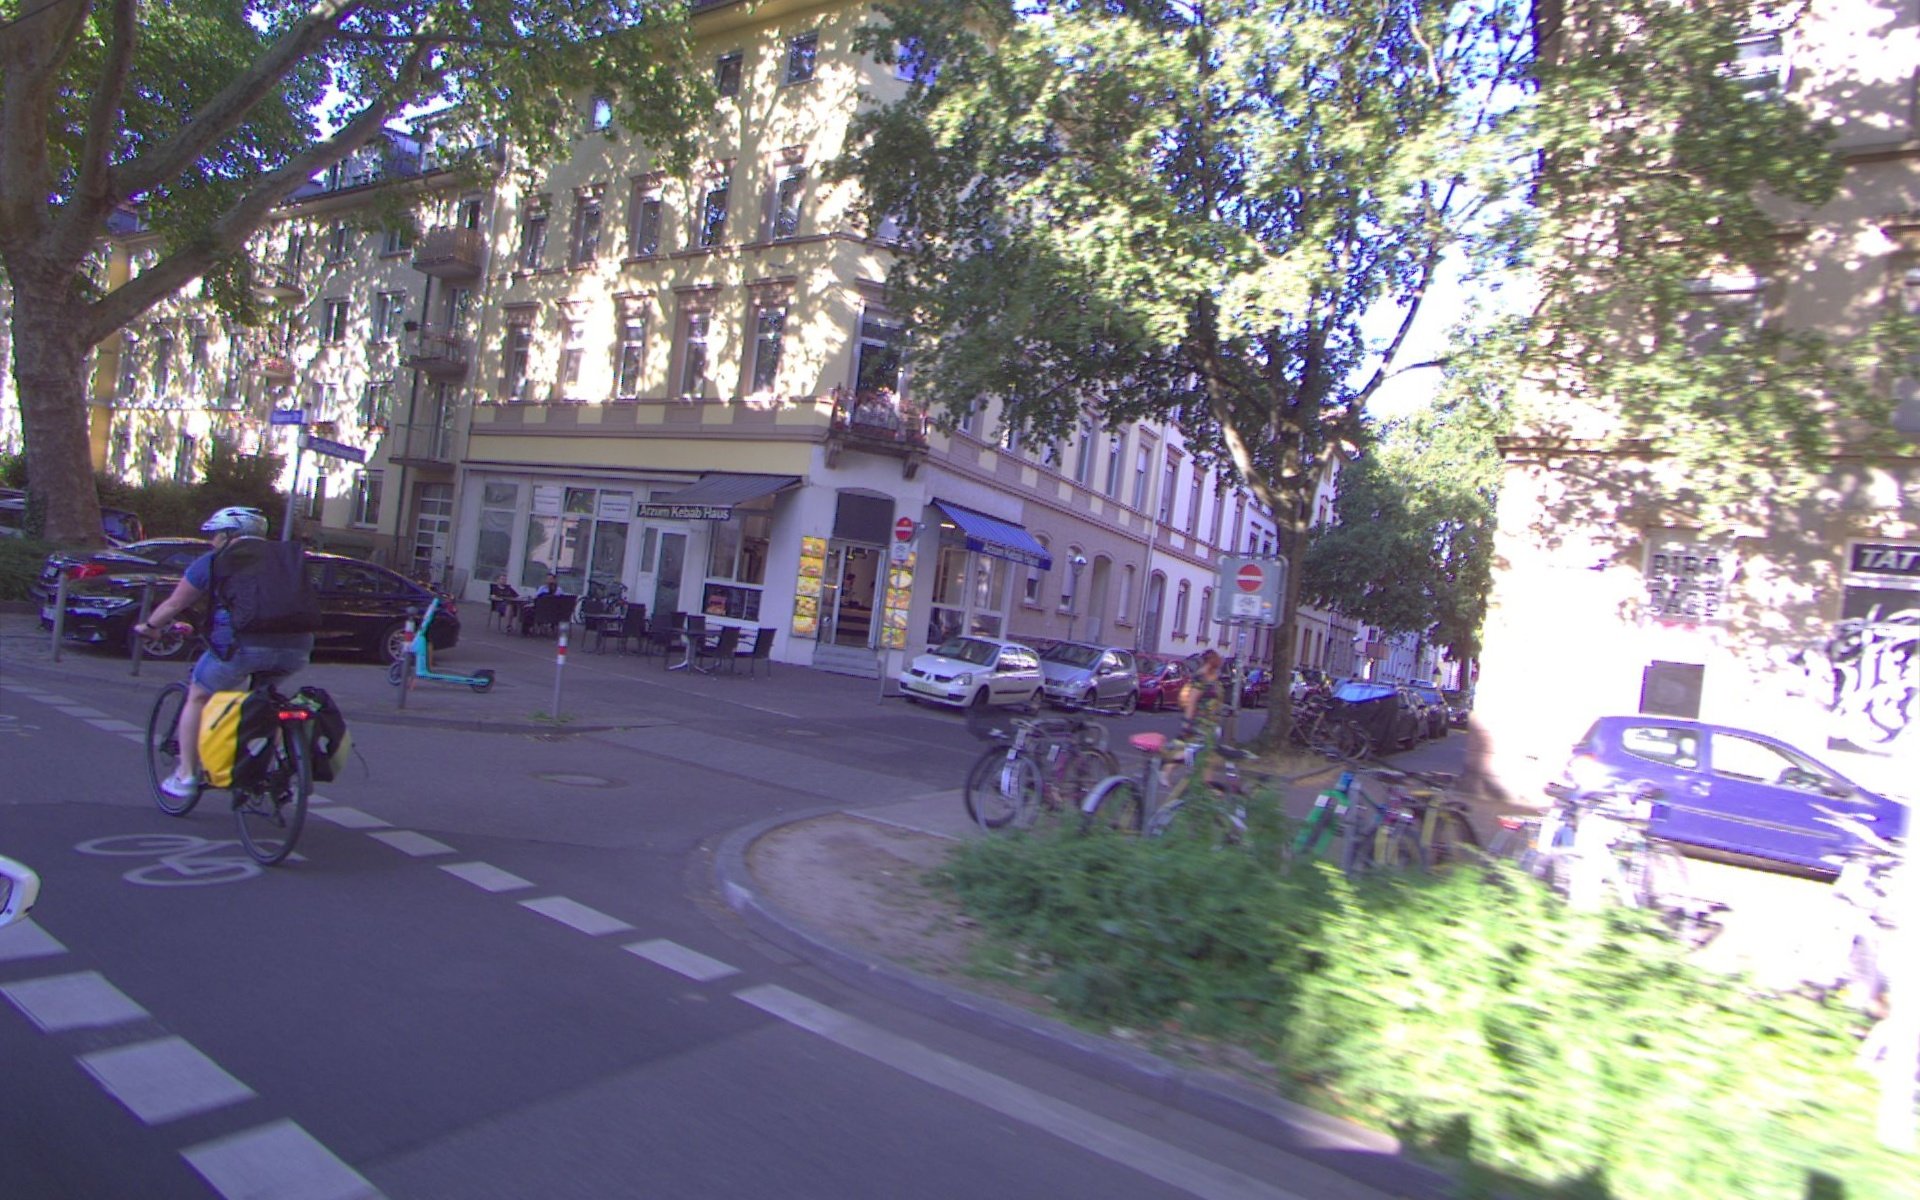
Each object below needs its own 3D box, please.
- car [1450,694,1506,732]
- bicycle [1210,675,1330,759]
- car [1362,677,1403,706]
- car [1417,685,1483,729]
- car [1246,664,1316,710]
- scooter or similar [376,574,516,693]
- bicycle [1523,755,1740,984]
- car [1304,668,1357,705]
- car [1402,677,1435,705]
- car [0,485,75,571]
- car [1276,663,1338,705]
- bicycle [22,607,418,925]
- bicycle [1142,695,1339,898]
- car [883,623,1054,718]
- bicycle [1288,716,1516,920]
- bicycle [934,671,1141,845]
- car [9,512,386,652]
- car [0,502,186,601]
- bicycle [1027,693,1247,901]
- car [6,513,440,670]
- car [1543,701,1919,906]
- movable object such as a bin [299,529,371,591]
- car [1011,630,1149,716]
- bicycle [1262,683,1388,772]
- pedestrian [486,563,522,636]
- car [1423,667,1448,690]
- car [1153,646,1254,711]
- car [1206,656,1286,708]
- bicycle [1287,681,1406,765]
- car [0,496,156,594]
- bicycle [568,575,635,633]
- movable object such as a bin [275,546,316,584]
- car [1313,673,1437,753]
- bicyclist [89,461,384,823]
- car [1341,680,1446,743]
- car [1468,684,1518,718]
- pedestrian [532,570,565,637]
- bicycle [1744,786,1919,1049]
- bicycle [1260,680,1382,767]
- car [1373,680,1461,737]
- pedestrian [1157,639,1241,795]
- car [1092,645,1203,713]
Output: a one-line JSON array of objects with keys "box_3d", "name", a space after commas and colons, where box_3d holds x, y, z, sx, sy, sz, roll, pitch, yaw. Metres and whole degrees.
[{"box_3d": [24.345, 5.294, 47.236, 1.825, 1.548, 3.861, 4, -3, 34], "name": "car"}, {"box_3d": [5.937, 2.224, 19.308, 2.010, 1.301, 0.507, 6, -1, 27], "name": "bicycle"}, {"box_3d": [26.915, 5.845, 64.003, 1.627, 1.507, 3.412, 9, 0, 33], "name": "car"}, {"box_3d": [20.128, 4.365, 41.227, 1.825, 1.548, 3.990, 4, -3, 34], "name": "car"}, {"box_3d": [12.885, 3.498, 40.303, 1.627, 1.507, 3.412, 9, 0, 33], "name": "car"}, {"box_3d": [-6.025, 0.413, 11.831, 1.304, 1.271, 0.337, 8, 0, -45], "name": "scooter or similar"}, {"box_3d": [4.252, 1.624, 6.298, 2.032, 1.192, 0.409, 8, -2, -37], "name": "bicycle"}, {"box_3d": [18.665, 4.381, 50.595, 1.627, 1.507, 3.412, 9, 0, 33], "name": "car"}, {"box_3d": [35.505, 7.047, 77.854, 1.627, 1.798, 3.413, 9, 0, 32], "name": "car"}, {"box_3d": [-21.635, -1.691, 21.055, 1.817, 1.741, 4.266, 7, 1, 30], "name": "car"}, {"box_3d": [15.330, 3.741, 44.405, 1.627, 1.507, 3.412, 9, 0, 33], "name": "car"}, {"box_3d": [-3.704, 0.707, 4.933, 2.470, 1.015, 0.596, 7, -3, 33], "name": "bicycle"}, {"box_3d": [2.036, 1.325, 7.074, 0.407, 1.192, 2.040, 6, -2, 40], "name": "bicycle"}, {"box_3d": [0.269, 1.400, 19.628, 1.662, 1.428, 3.685, 9, 0, 28], "name": "car"}, {"box_3d": [3.096, 1.472, 6.929, 2.032, 1.192, 0.409, 8, -2, -37], "name": "bicycle"}, {"box_3d": [0.685, 1.239, 8.032, 0.407, 1.192, 2.040, 6, -2, 40], "name": "bicycle"}, {"box_3d": [-11.177, -0.190, 15.033, 1.656, 1.509, 4.098, 7, -1, 37], "name": "car"}, {"box_3d": [-16.891, -0.949, 18.325, 1.653, 1.498, 4.033, 7, 0, 31], "name": "car"}, {"box_3d": [1.290, 1.299, 6.924, 0.407, 1.192, 2.040, 6, -2, 40], "name": "bicycle"}, {"box_3d": [-9.364, -0.007, 13.168, 1.800, 1.509, 4.104, 7, -1, 30], "name": "car"}, {"box_3d": [8.404, 2.095, 10.803, 3.509, 1.472, 1.737, 7, -2, 29], "name": "car"}, {"box_3d": [-16.630, -1.065, 26.776, 1.099, 1.456, 1.168, 7, 1, 32], "name": "movable object such as a bin"}, {"box_3d": [2.923, 1.753, 23.775, 1.663, 1.635, 3.683, 9, 0, 31], "name": "car"}, {"box_3d": [6.187, 2.149, 17.121, 1.871, 1.270, 0.508, 5, -1, 11], "name": "bicycle"}, {"box_3d": [-9.253, -0.019, 20.405, 0.480, 1.392, 1.049, 7, 0, -27], "name": "pedestrian"}, {"box_3d": [43.390, 7.165, 91.764, 1.477, 1.798, 3.413, 9, 0, 32], "name": "car"}, {"box_3d": [7.761, 2.526, 31.782, 1.627, 1.678, 4.136, 9, 0, 33], "name": "car"}, {"box_3d": [10.267, 2.960, 36.017, 1.627, 1.507, 3.412, 9, 0, 33], "name": "car"}, {"box_3d": [7.378, 2.332, 19.260, 1.975, 1.331, 0.523, 4, -3, 32], "name": "bicycle"}, {"box_3d": [-18.832, -1.186, 19.986, 1.653, 1.663, 4.034, 7, 0, 30], "name": "car"}, {"box_3d": [-8.595, 0.087, 24.088, 1.717, 1.171, 0.470, 8, 2, 33], "name": "bicycle"}, {"box_3d": [-18.272, -0.961, 27.681, 0.458, 0.955, 0.748, 7, 1, 32], "name": "movable object such as a bin"}, {"box_3d": [10.214, 2.750, 24.617, 1.826, 1.617, 3.988, 4, -3, 36], "name": "car"}, {"box_3d": [-3.495, 0.192, 4.873, 0.920, 1.567, 0.616, 7, -5, 32], "name": "bicyclist"}, {"box_3d": [12.357, 3.156, 28.521, 1.826, 1.484, 3.988, 4, -3, 36], "name": "car"}, {"box_3d": [28.008, 5.323, 52.820, 1.825, 1.548, 3.861, 4, -3, 34], "name": "car"}, {"box_3d": [-8.709, 0.068, 21.321, 0.480, 1.344, 0.683, 7, 0, -21], "name": "pedestrian"}, {"box_3d": [5.138, 1.689, 5.388, 2.020, 1.192, 0.411, 8, -1, -21], "name": "bicycle"}, {"box_3d": [6.348, 2.158, 17.764, 1.871, 1.301, 0.508, 5, -1, 13], "name": "bicycle"}, {"box_3d": [14.673, 3.457, 32.177, 1.825, 1.548, 3.990, 4, -3, 34], "name": "car"}, {"box_3d": [2.742, 1.320, 11.590, 0.695, 1.671, 0.594, 7, 0, 7], "name": "pedestrian"}, {"box_3d": [5.220, 2.201, 27.726, 1.627, 1.507, 3.412, 9, 0, 33], "name": "car"}]
